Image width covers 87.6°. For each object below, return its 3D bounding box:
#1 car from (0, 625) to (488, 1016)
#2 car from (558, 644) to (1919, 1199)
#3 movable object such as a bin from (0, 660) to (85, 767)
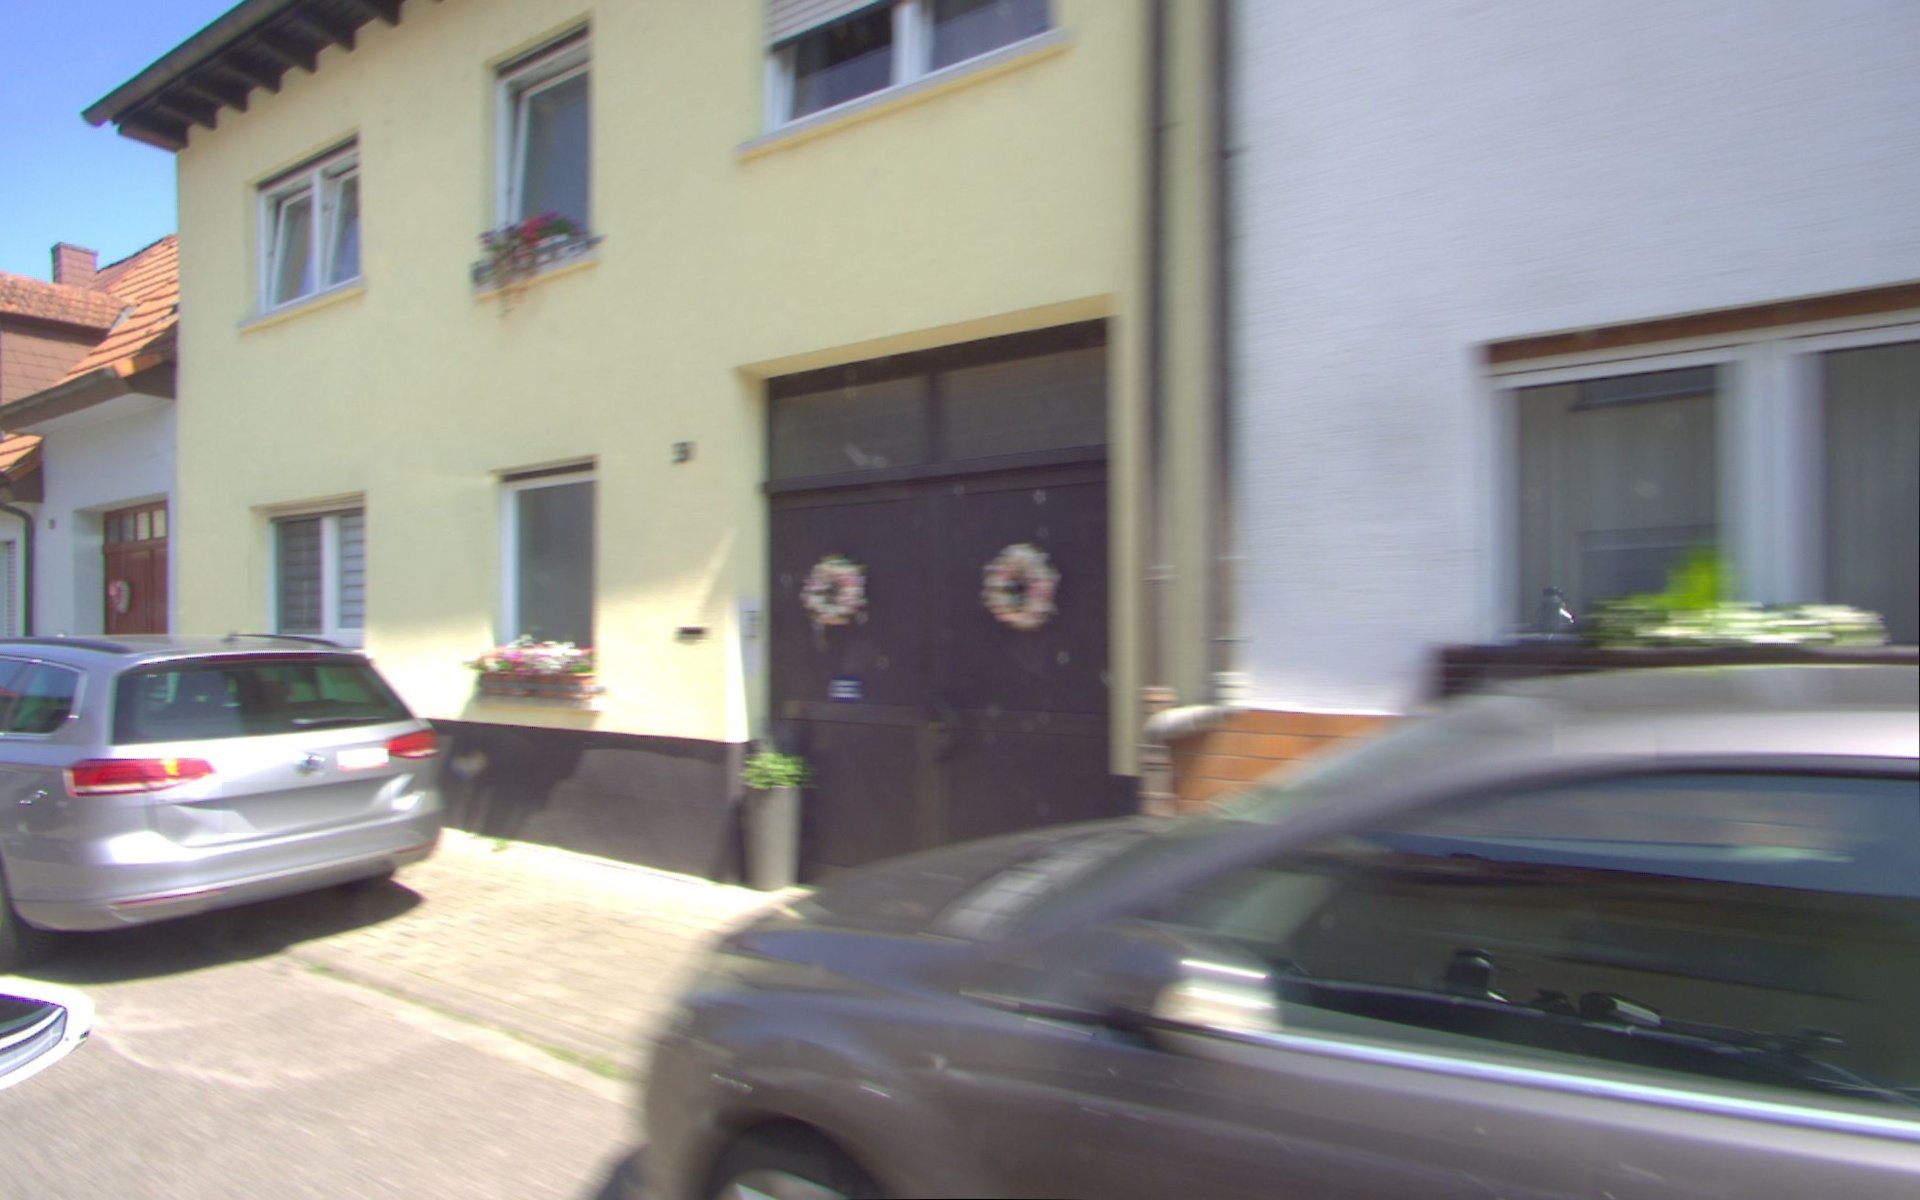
[{"bbox_3d":[-5.009,0.899,5.786,4.706,1.466,1.836,-1,-2,31],"label":"car"},{"bbox_3d":[1.218,0.819,1.733,4.050,1.453,1.692,-1,-2,36],"label":"car"},{"bbox_3d":[-10.210,1.226,11.023,0.801,1.085,0.657,0,0,31],"label":"movable object such as a bin"}]
